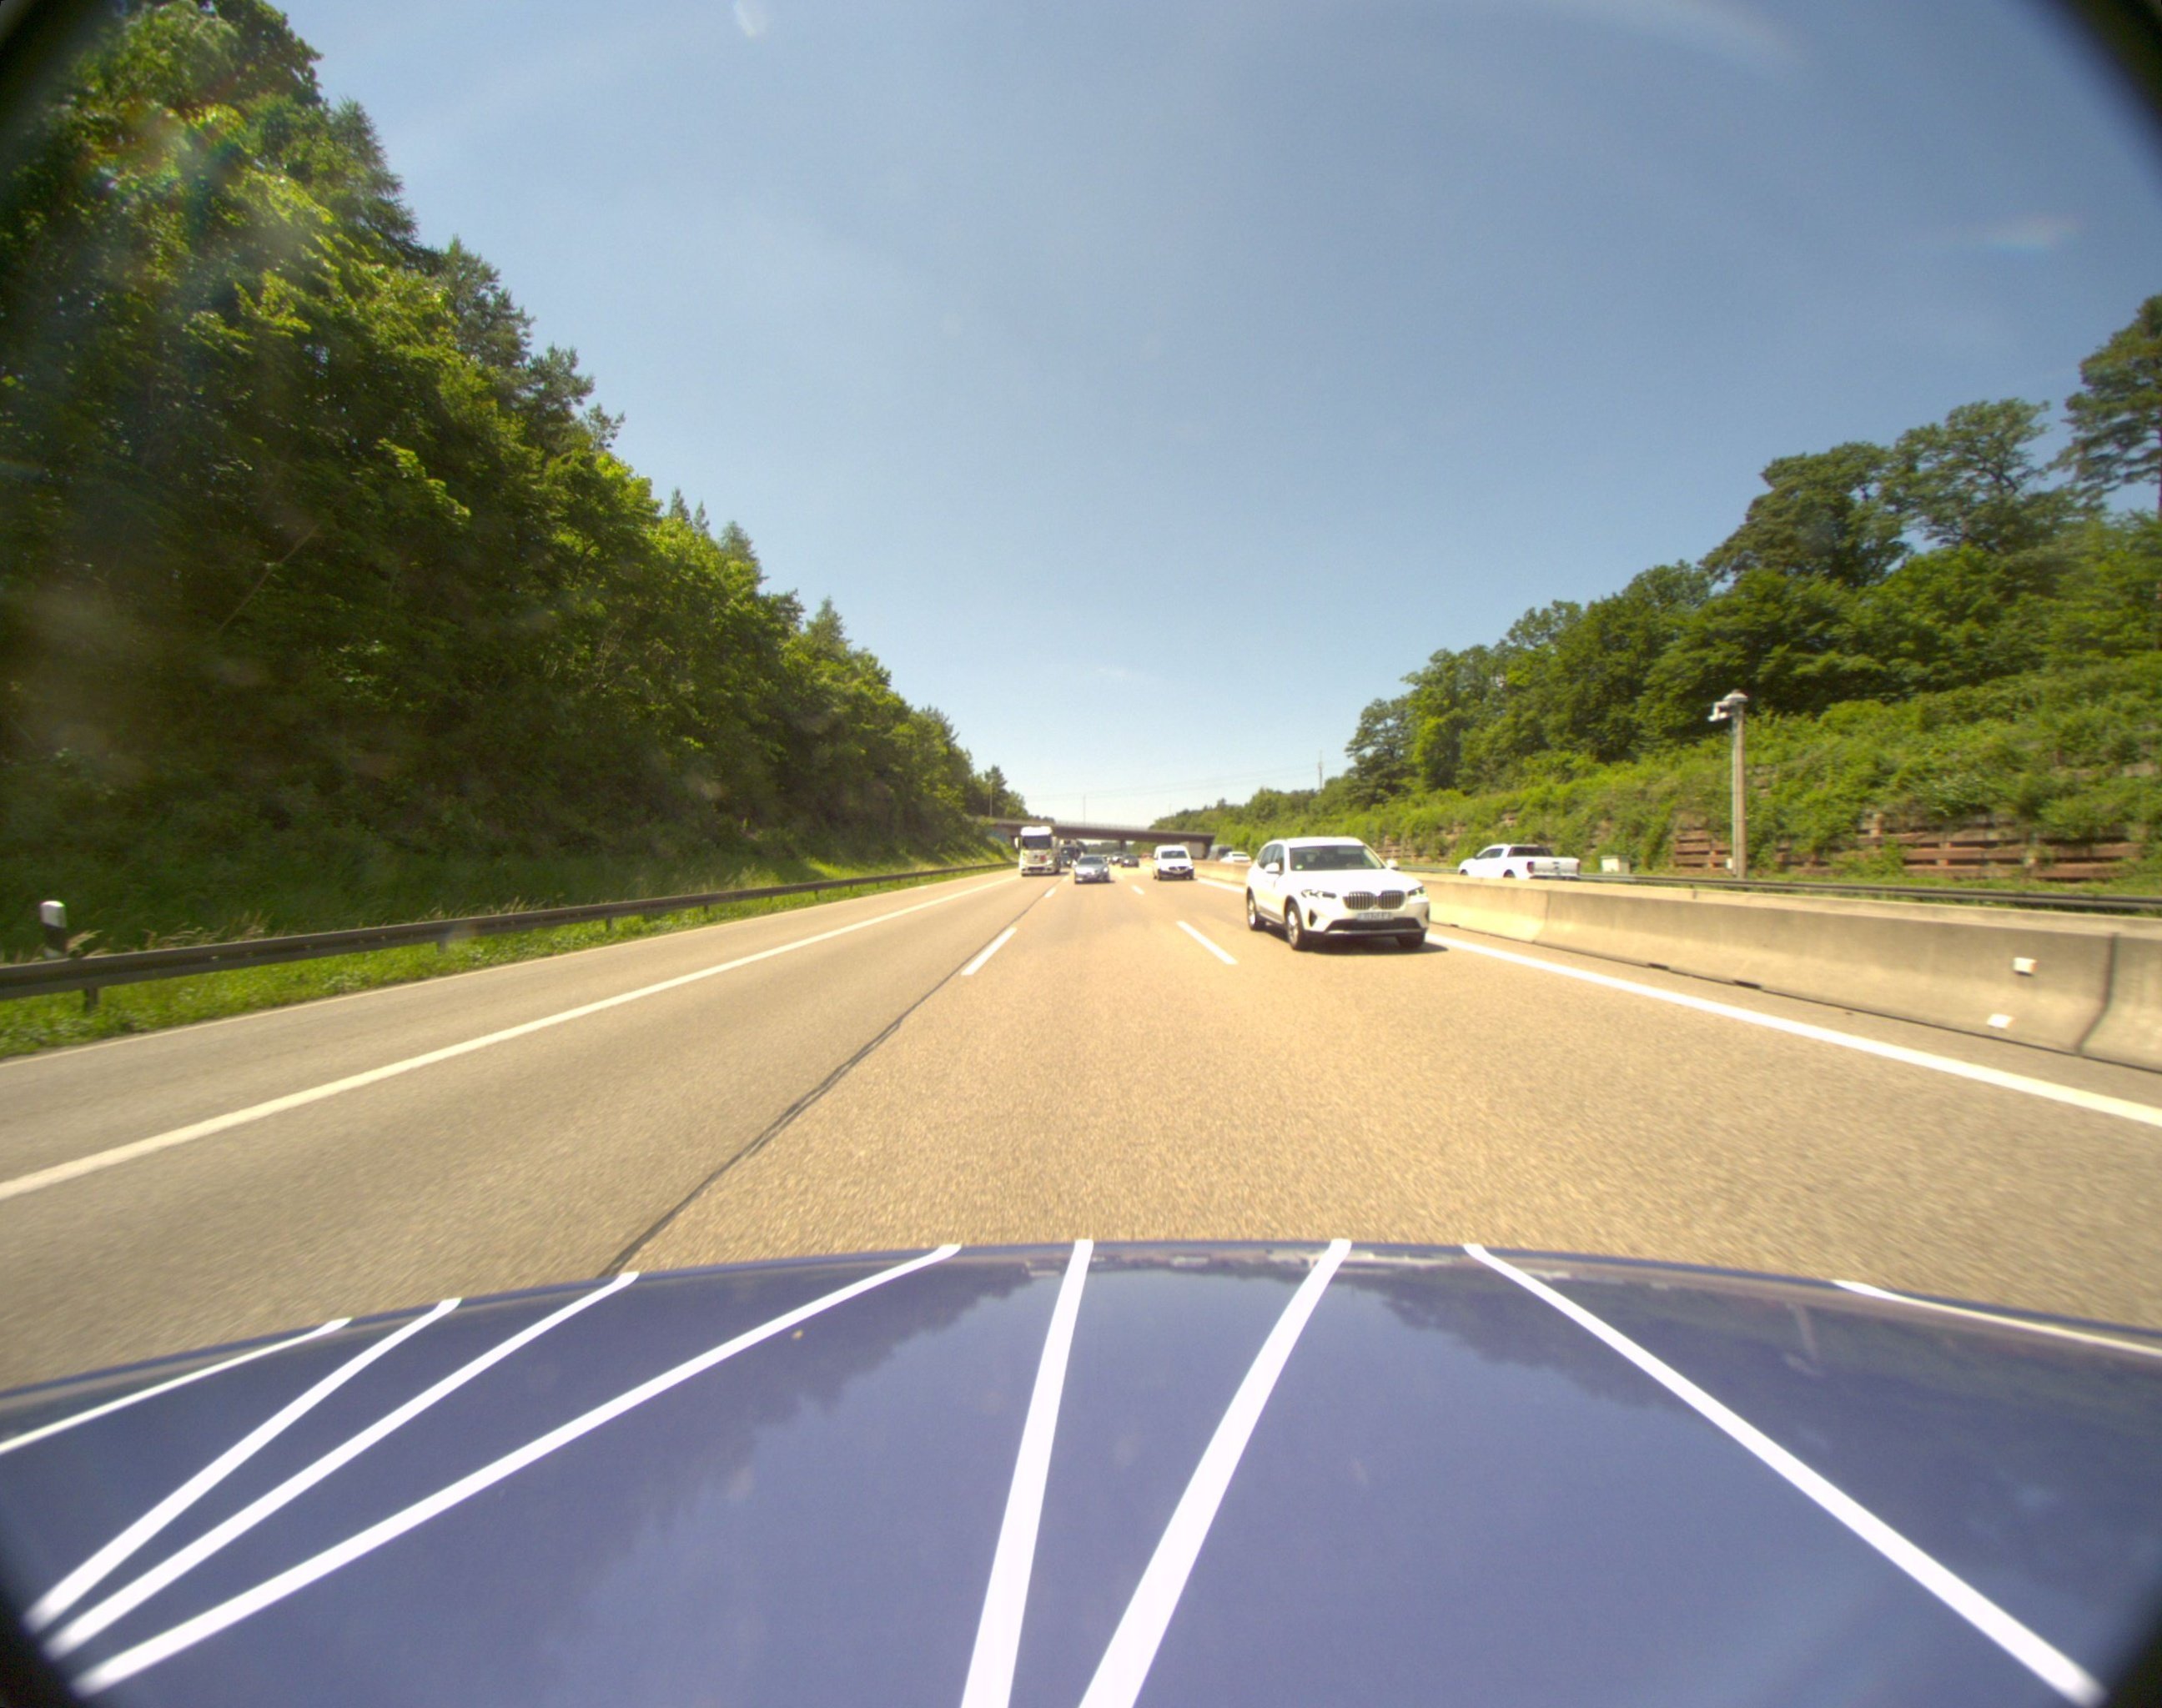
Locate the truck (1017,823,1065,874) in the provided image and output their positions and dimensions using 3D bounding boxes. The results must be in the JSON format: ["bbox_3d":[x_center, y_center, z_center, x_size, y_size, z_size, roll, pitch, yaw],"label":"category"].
[{"bbox_3d":[-2.982,-0.450,60.720,2.844,3.518,13.086,-2,1,1],"label":"truck"}]

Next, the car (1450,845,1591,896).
[{"bbox_3d":[15.684,0.518,27.566,1.887,1.628,5.649,1,0,1],"label":"car"}]

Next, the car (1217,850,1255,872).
[{"bbox_3d":[12.122,0.522,59.642,1.944,1.595,5.226,1,0,1],"label":"car"}]

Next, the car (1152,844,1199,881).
[{"bbox_3d":[4.920,0.411,40.213,1.998,1.764,4.501,-2,1,2],"label":"car"}]

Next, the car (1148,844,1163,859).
[{"bbox_3d":[13.899,-0.448,142.306,2.245,2.667,5.341,1,0,0],"label":"car"}]

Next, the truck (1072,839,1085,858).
[{"bbox_3d":[-0.479,-1.323,180.154,2.627,4.365,13.086,-2,1,1],"label":"truck"}]

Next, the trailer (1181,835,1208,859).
[{"bbox_3d":[21.414,-1.376,144.451,2.942,4.162,14.183,-2,1,1],"label":"trailer"}]

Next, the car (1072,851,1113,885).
[{"bbox_3d":[0.631,0.646,37.776,1.843,1.518,4.501,-2,1,2],"label":"car"}]

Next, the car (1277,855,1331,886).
[{"bbox_3d":[12.251,0.868,41.981,1.757,1.628,4.303,1,0,1],"label":"car"}]

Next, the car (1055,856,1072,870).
[{"bbox_3d":[-1.986,1.012,86.576,1.770,1.504,3.999,-2,1,1],"label":"car"}]

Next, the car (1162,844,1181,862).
[{"bbox_3d":[13.682,-0.160,115.188,2.245,2.667,5.341,1,0,0],"label":"car"}]

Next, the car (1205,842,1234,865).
[{"bbox_3d":[16.332,-0.083,89.953,2.245,2.667,7.137,1,0,1],"label":"car"}]

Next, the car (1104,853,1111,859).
[{"bbox_3d":[7.290,0.435,208.824,1.944,1.616,4.281,1,0,0],"label":"car"}]

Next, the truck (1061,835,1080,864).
[{"bbox_3d":[-1.638,-0.779,126.570,2.627,4.365,13.086,-2,1,1],"label":"truck"}]

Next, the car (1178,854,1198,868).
[{"bbox_3d":[12.616,0.777,89.827,1.736,1.595,4.281,1,0,1],"label":"car"}]

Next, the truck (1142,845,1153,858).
[{"bbox_3d":[22.498,-0.887,258.378,2.627,4.365,13.086,-2,1,1],"label":"truck"}]

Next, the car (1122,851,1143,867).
[{"bbox_3d":[5.333,0.454,79.056,1.770,1.504,4.725,-2,1,1],"label":"car"}]

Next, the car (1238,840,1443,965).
[{"bbox_3d":[3.943,0.646,12.386,1.850,1.634,4.368,-2,0,1],"label":"car"}]

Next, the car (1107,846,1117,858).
[{"bbox_3d":[7.102,-0.489,174.168,2.245,2.667,5.341,1,0,0],"label":"car"}]

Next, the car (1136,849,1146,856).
[{"bbox_3d":[14.782,-0.451,187.289,1.944,1.616,4.281,1,0,0],"label":"car"}]

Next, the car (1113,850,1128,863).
[{"bbox_3d":[5.104,0.301,99.313,1.770,1.504,3.999,-2,1,1],"label":"car"}]
